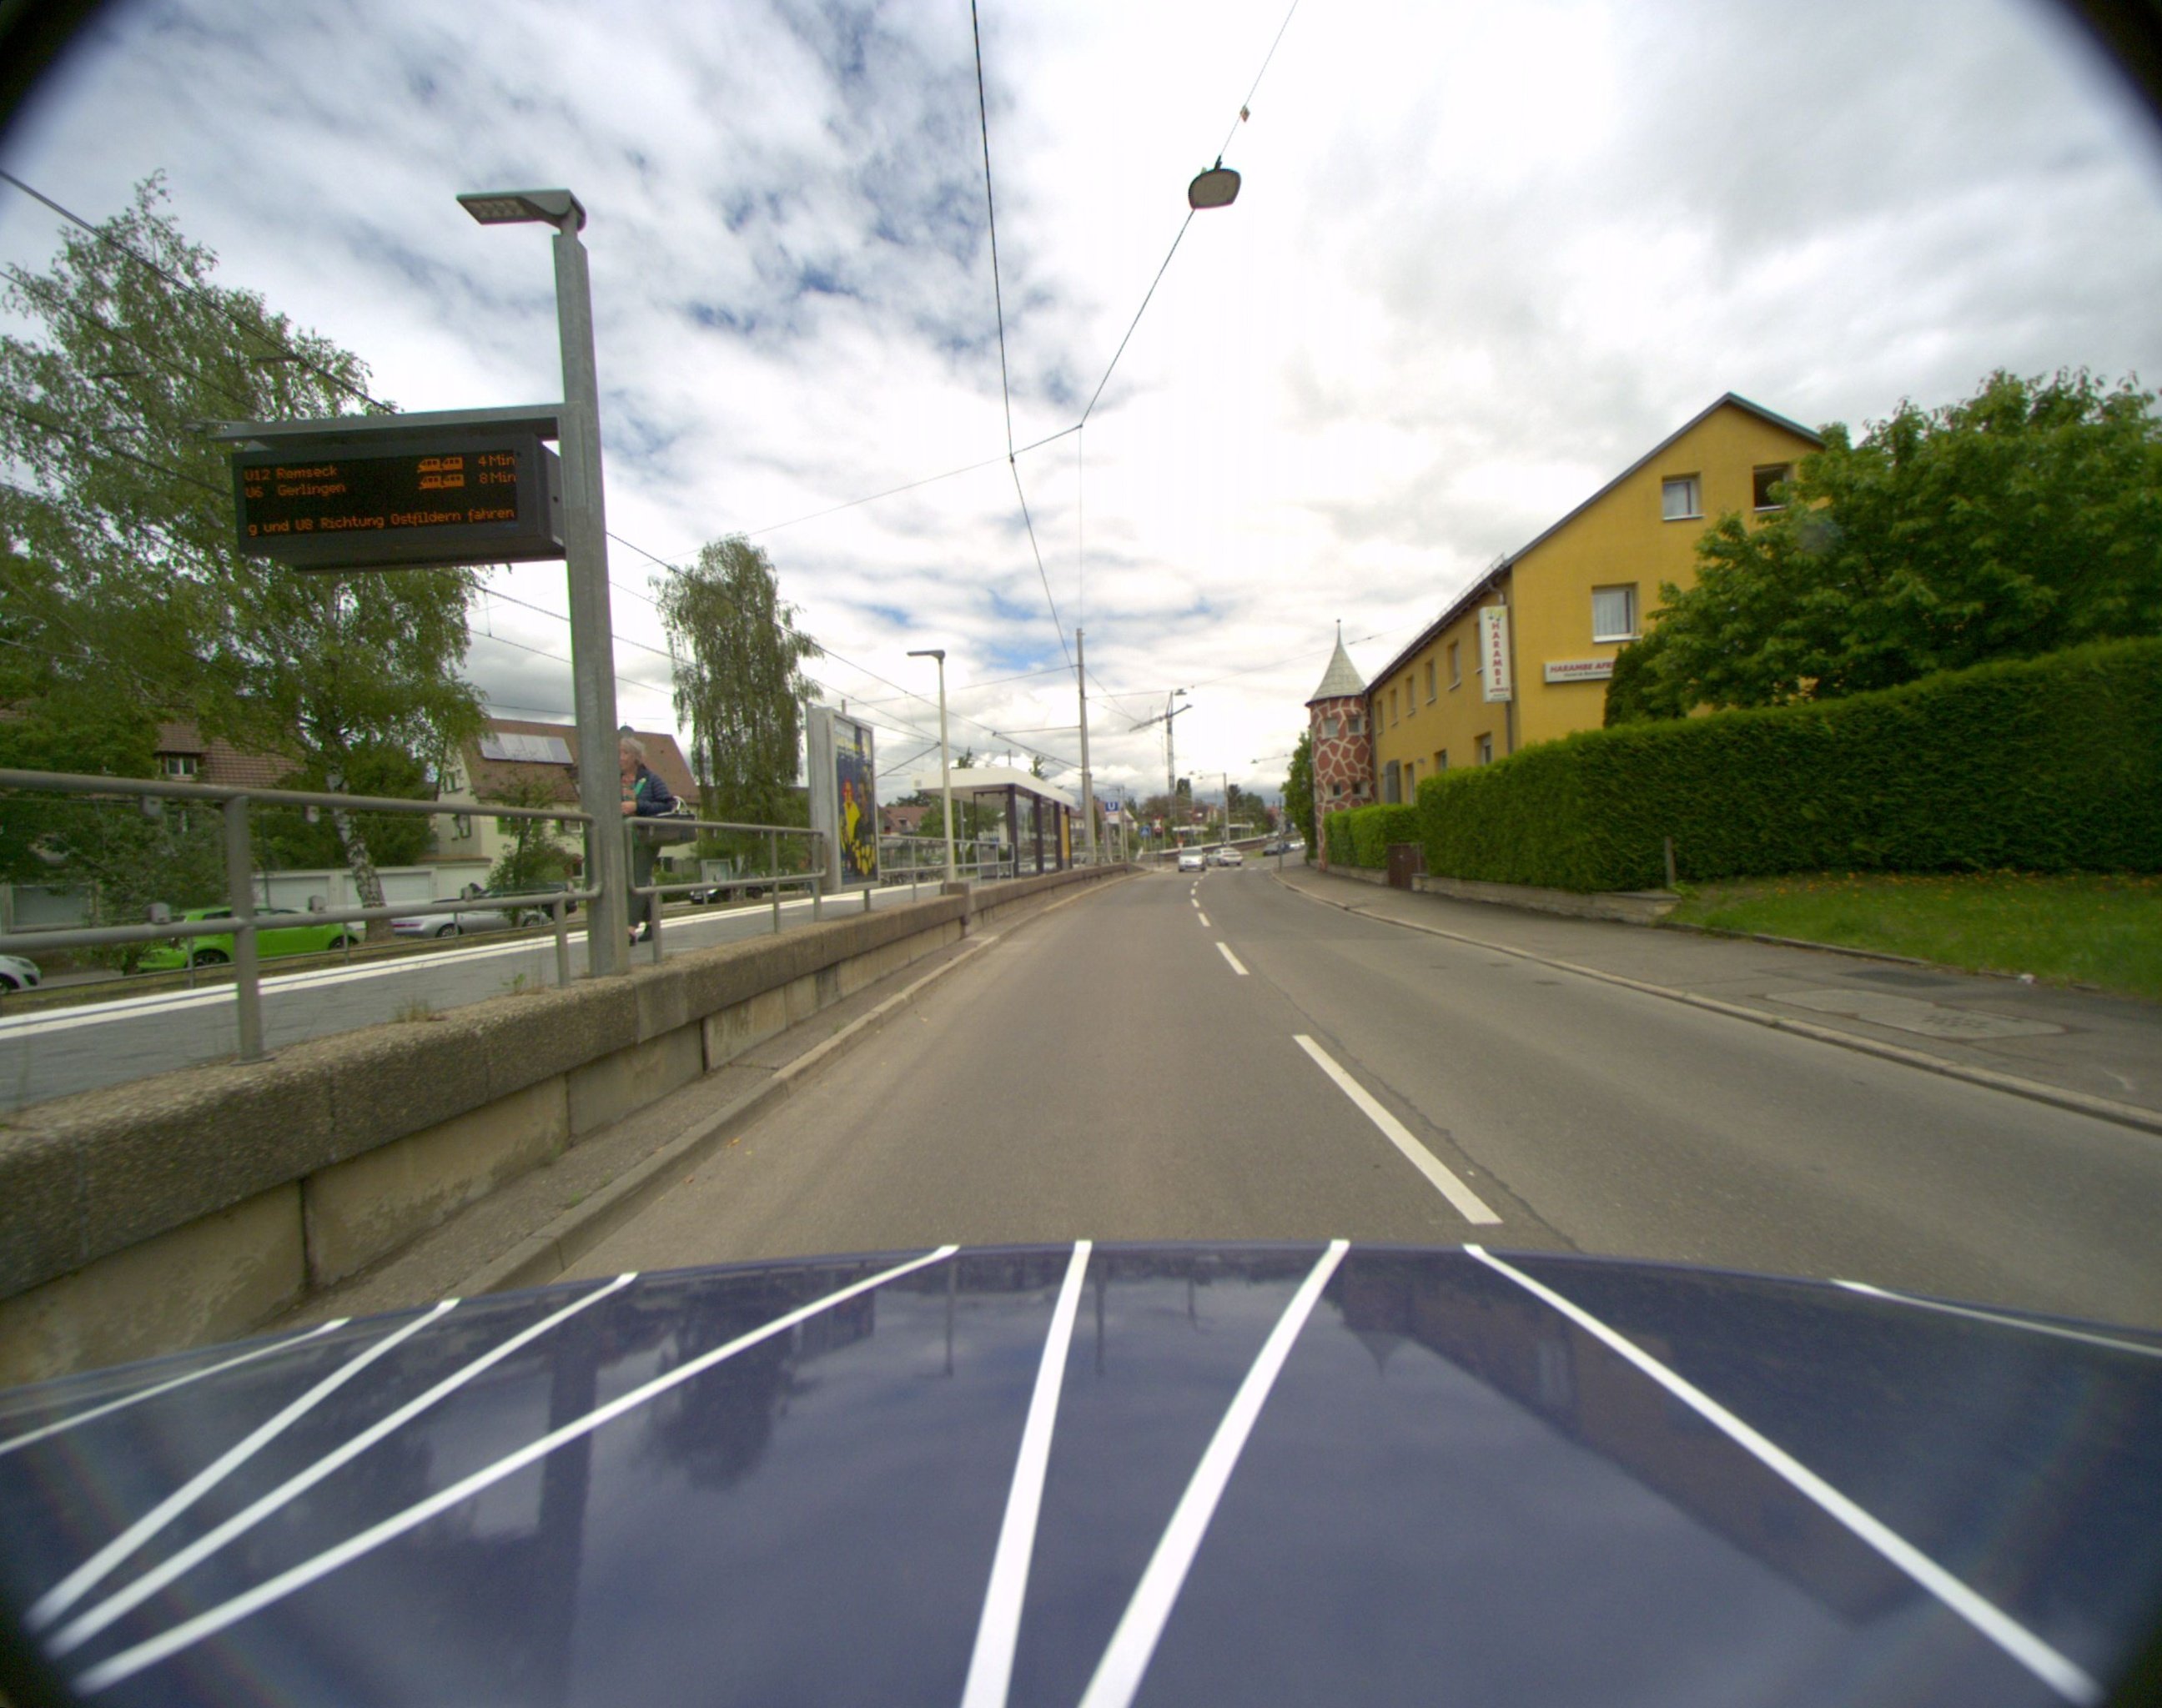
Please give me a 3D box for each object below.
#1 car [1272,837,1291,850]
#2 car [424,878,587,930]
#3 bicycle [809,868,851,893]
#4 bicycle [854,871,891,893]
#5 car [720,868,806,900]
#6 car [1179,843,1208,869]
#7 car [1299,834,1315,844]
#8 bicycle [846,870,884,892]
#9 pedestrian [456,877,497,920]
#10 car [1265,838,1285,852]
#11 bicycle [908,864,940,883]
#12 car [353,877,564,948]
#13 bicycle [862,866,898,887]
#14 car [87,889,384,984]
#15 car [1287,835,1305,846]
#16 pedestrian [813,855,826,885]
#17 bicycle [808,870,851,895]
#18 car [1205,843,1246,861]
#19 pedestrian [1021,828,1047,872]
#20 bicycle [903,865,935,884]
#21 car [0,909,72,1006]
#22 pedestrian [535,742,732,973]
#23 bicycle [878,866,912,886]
[{"bbox_3d":[26.261,-1.395,99.320,1.818,1.493,4.125,-3,1,21],"label":"car"},{"bbox_3d":[-22.895,1.947,30.472,1.817,1.626,4.846,-3,1,26],"label":"car"},{"bbox_3d":[-11.895,1.247,36.009,1.768,1.036,0.557,-3,1,7],"label":"bicycle"},{"bbox_3d":[-10.773,1.433,39.265,1.767,1.036,0.557,-3,1,16],"label":"bicycle"},{"bbox_3d":[-17.813,1.637,42.796,1.817,1.477,4.428,-3,1,22],"label":"car"},{"bbox_3d":[7.491,0.079,50.574,1.725,1.559,3.929,-3,0,8],"label":"car"},{"bbox_3d":[35.424,-2.423,118.927,1.850,1.368,4.005,-3,1,24],"label":"car"},{"bbox_3d":[-10.938,1.372,38.478,1.767,1.036,0.557,-3,1,16],"label":"bicycle"},{"bbox_3d":[-25.132,1.848,31.616,0.809,1.676,0.949,-3,1,10],"label":"pedestrian"},{"bbox_3d":[23.810,-1.077,93.244,1.818,1.493,4.125,-3,1,21],"label":"car"},{"bbox_3d":[-9.427,1.146,45.590,1.767,1.036,0.557,-3,1,16],"label":"bicycle"},{"bbox_3d":[-17.537,1.584,21.732,2.067,1.565,4.263,-3,1,10],"label":"car"},{"bbox_3d":[-10.817,1.226,40.966,1.767,1.036,0.557,-3,1,16],"label":"bicycle"},{"bbox_3d":[-18.316,1.709,16.784,1.733,1.565,4.002,-3,1,10],"label":"car"},{"bbox_3d":[30.824,-1.948,108.966,1.850,1.368,4.005,-3,1,24],"label":"car"},{"bbox_3d":[-17.209,1.055,50.022,0.626,1.903,0.830,-3,0,-8],"label":"pedestrian"},{"bbox_3d":[-11.655,1.334,35.243,1.768,1.036,0.557,-3,1,6],"label":"bicycle"},{"bbox_3d":[11.872,-0.221,62.720,1.825,1.411,4.458,-1,1,-11],"label":"car"},{"bbox_3d":[-1.440,-0.122,23.449,0.621,1.291,0.720,-3,1,5],"label":"pedestrian"},{"bbox_3d":[-9.586,1.218,44.934,1.767,1.036,0.557,-3,1,16],"label":"bicycle"},{"bbox_3d":[-19.349,1.843,11.737,1.760,1.565,4.102,-3,1,10],"label":"car"},{"bbox_3d":[-3.504,0.026,6.045,0.887,1.661,0.910,-3,1,6],"label":"pedestrian"},{"bbox_3d":[-10.420,1.231,42.555,1.767,1.036,0.557,-3,1,16],"label":"bicycle"}]
